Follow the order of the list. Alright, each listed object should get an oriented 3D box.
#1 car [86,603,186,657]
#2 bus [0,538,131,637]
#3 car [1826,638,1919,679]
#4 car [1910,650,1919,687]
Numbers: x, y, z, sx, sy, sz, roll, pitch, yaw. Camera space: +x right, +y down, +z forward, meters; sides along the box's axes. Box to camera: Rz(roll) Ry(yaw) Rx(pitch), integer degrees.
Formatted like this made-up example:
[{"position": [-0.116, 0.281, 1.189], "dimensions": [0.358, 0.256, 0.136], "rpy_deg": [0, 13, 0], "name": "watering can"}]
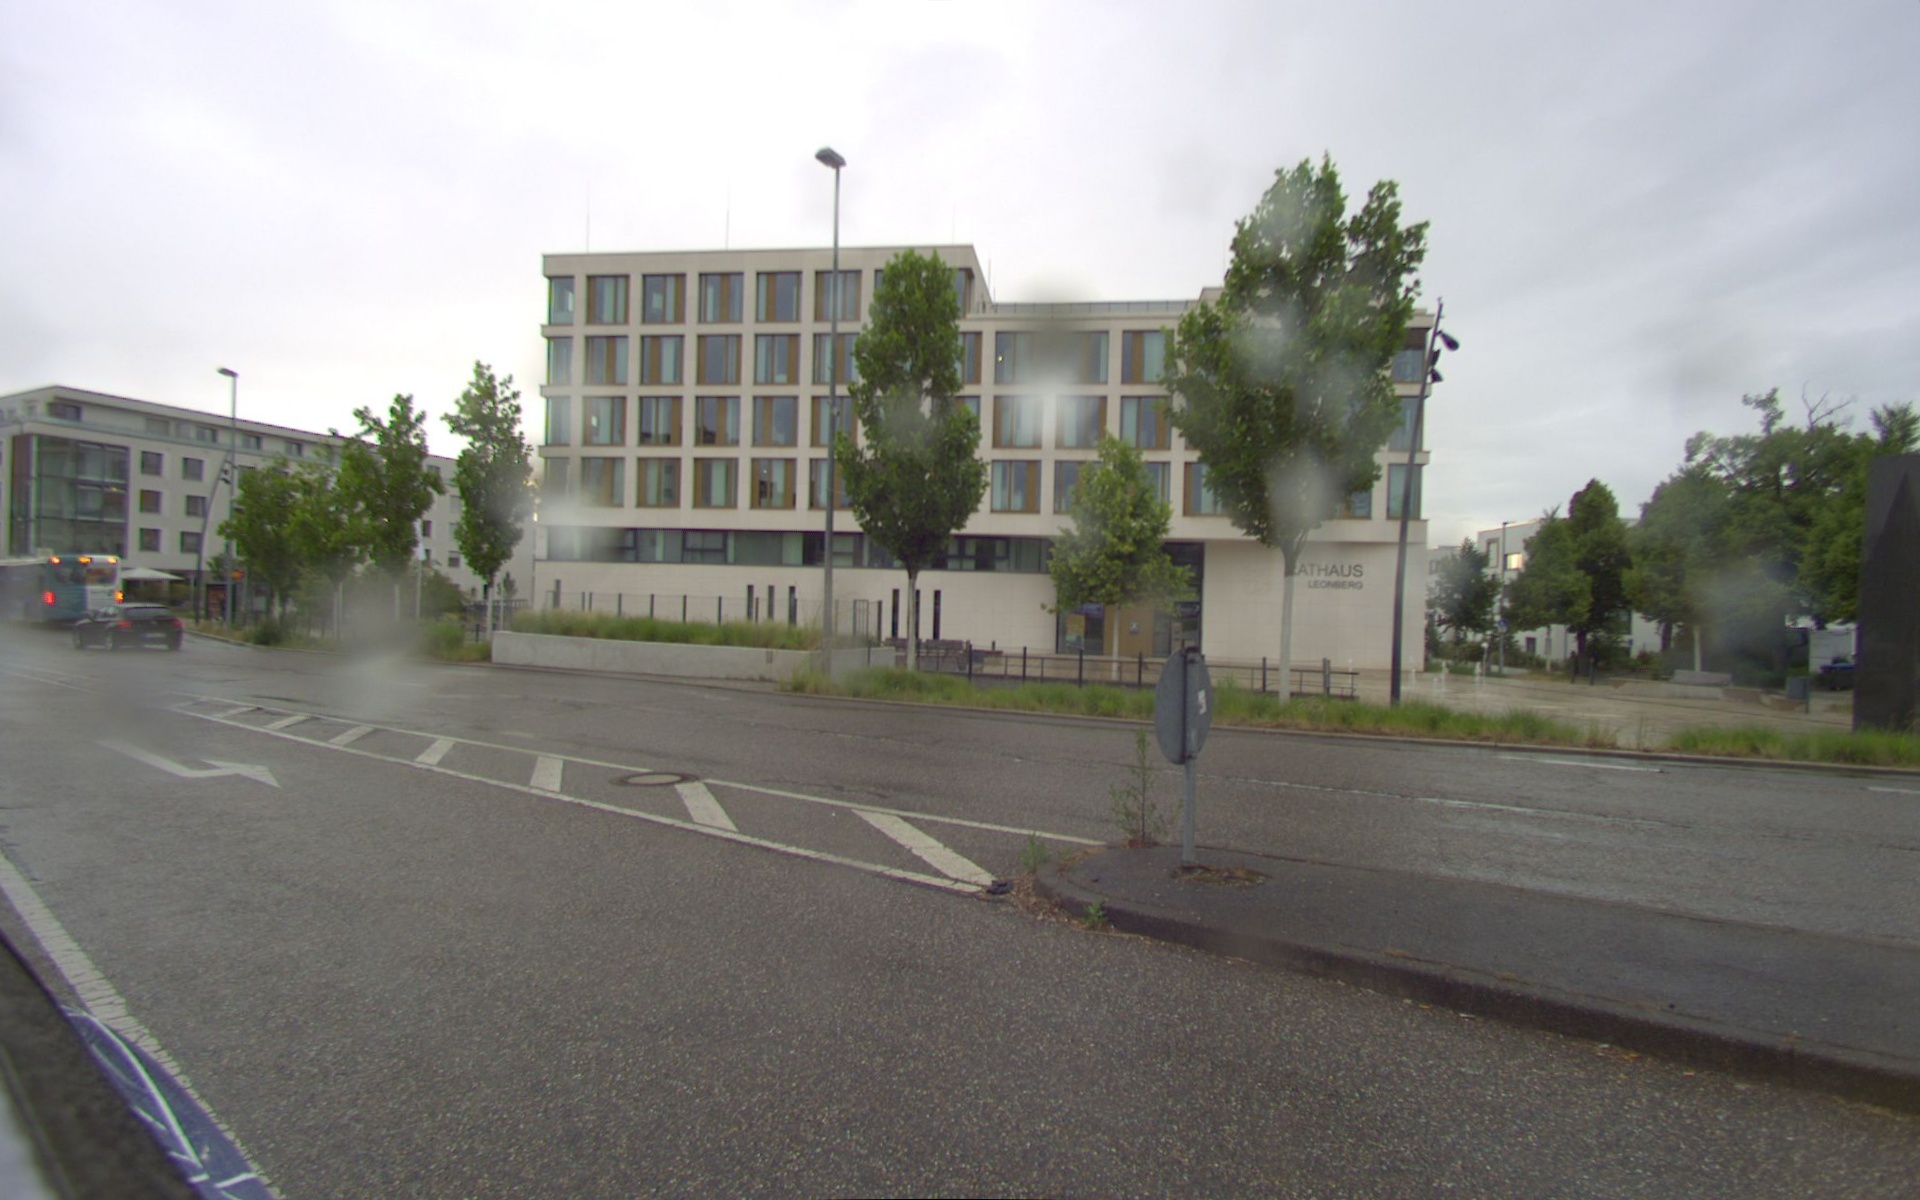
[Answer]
[{"position": [-25.203, 0.865, 30.919], "dimensions": [3.942, 1.439, 1.795], "rpy_deg": [1, 1, 42], "name": "car"}, {"position": [-44.416, -0.401, 48.102], "dimensions": [18.187, 4.026, 2.918], "rpy_deg": [-1, -3, 35], "name": "bus"}, {"position": [50.598, 3.215, 56.041], "dimensions": [1.766, 2.029, 3.999], "rpy_deg": [-1, 0, 1], "name": "car"}, {"position": [54.707, 3.861, 55.297], "dimensions": [1.766, 2.029, 3.999], "rpy_deg": [-1, 0, 1], "name": "car"}]
